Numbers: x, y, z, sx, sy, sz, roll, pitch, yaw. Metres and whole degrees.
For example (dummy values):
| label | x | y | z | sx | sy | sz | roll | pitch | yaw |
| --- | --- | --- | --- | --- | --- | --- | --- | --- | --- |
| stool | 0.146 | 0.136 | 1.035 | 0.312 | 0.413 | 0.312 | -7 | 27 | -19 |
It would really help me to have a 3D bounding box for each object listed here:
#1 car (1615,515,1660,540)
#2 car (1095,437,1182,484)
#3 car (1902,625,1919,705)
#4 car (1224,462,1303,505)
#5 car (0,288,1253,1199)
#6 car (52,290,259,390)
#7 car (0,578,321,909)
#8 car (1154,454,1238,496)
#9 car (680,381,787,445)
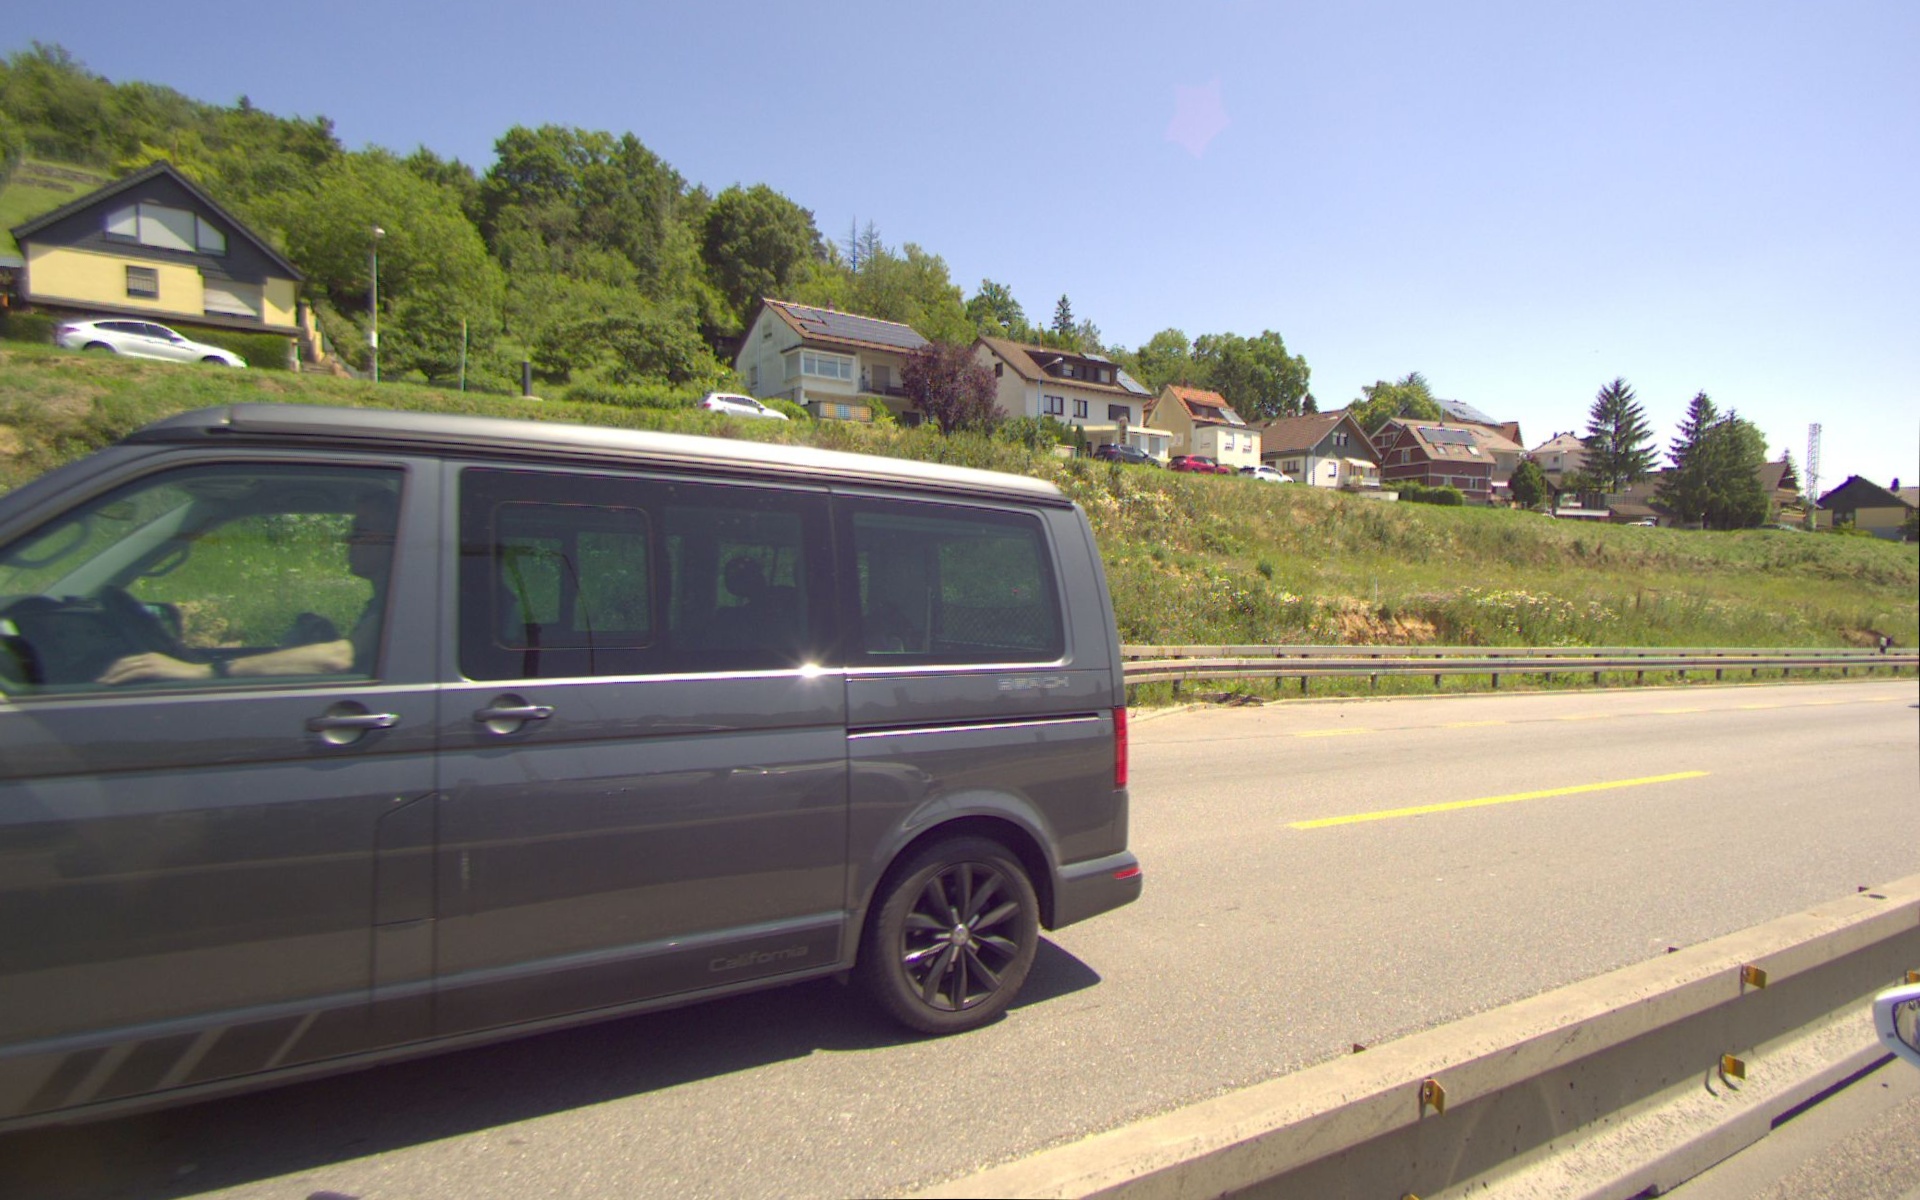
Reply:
| label | x | y | z | sx | sy | sz | roll | pitch | yaw |
| --- | --- | --- | --- | --- | --- | --- | --- | --- | --- |
| car | 68.074 | -7.263 | 100.944 | 3.946 | 2.040 | 1.988 | 3 | -1 | -25 |
| car | 10.034 | -7.780 | 56.349 | 4.720 | 1.817 | 2.163 | 3 | -1 | -37 |
| car | 20.577 | 1.284 | 19.809 | 4.547 | 1.517 | 1.795 | 1 | -1 | -31 |
| car | 19.514 | -7.430 | 64.576 | 4.767 | 2.068 | 2.334 | 3 | -1 | -33 |
| car | -1.399 | 0.407 | 3.536 | 4.851 | 2.040 | 1.900 | 2 | 0 | -32 |
| car | -25.423 | -8.172 | 31.999 | 4.966 | 1.817 | 1.979 | 3 | -1 | -37 |
| car | -5.670 | 0.595 | 4.611 | 4.502 | 1.450 | 1.801 | 1 | 0 | -30 |
| car | 14.382 | -7.528 | 61.029 | 4.751 | 1.817 | 2.334 | 3 | -1 | -34 |
| car | -9.566 | -7.843 | 42.510 | 3.963 | 1.817 | 1.979 | 3 | -1 | -37 |
